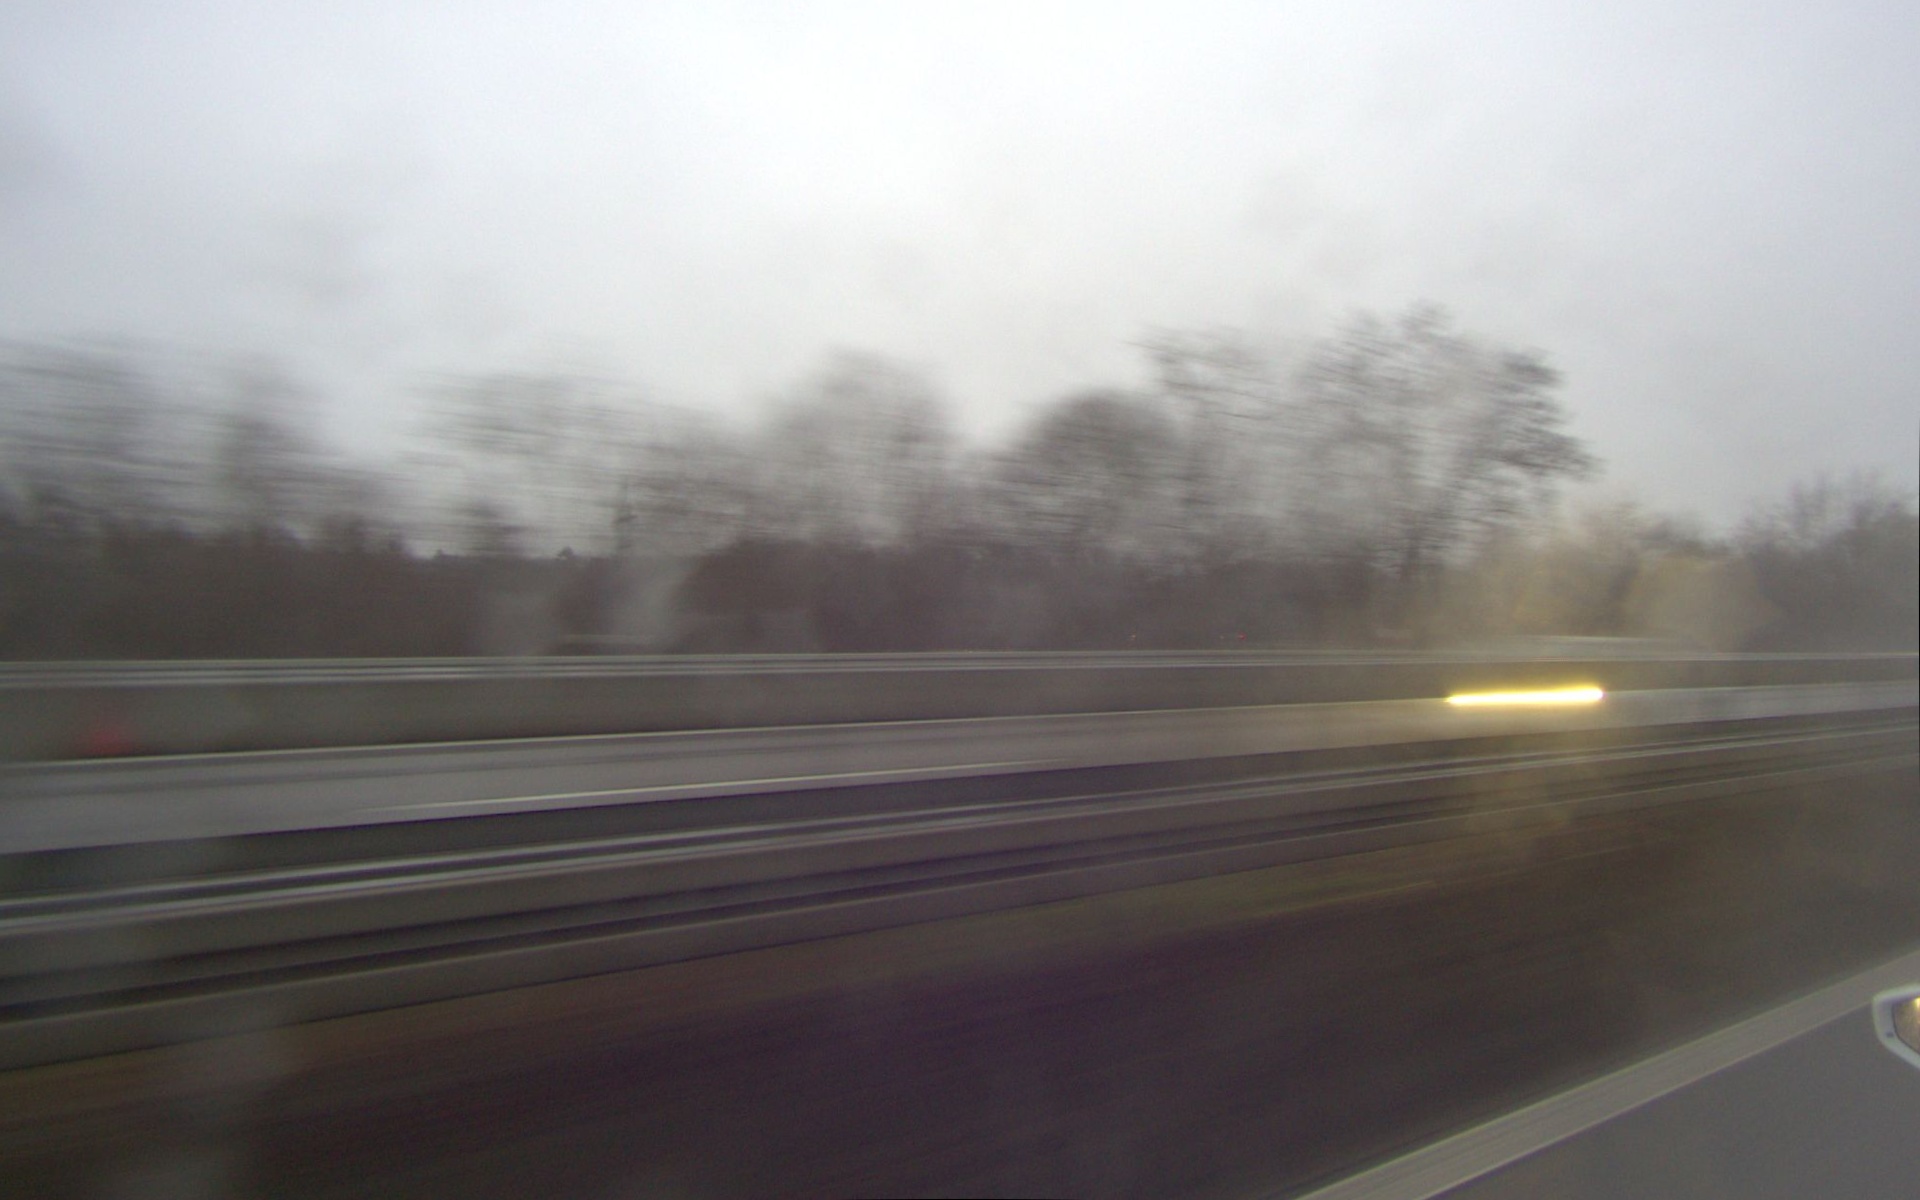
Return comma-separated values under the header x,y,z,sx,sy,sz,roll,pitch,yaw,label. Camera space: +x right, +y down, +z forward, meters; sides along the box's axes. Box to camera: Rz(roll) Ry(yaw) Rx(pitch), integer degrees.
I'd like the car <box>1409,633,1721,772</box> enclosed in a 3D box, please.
x,y,z,sx,sy,sz,roll,pitch,yaw,label
7.723,1.193,12.729,4.127,1.494,1.601,2,-1,-30,car
